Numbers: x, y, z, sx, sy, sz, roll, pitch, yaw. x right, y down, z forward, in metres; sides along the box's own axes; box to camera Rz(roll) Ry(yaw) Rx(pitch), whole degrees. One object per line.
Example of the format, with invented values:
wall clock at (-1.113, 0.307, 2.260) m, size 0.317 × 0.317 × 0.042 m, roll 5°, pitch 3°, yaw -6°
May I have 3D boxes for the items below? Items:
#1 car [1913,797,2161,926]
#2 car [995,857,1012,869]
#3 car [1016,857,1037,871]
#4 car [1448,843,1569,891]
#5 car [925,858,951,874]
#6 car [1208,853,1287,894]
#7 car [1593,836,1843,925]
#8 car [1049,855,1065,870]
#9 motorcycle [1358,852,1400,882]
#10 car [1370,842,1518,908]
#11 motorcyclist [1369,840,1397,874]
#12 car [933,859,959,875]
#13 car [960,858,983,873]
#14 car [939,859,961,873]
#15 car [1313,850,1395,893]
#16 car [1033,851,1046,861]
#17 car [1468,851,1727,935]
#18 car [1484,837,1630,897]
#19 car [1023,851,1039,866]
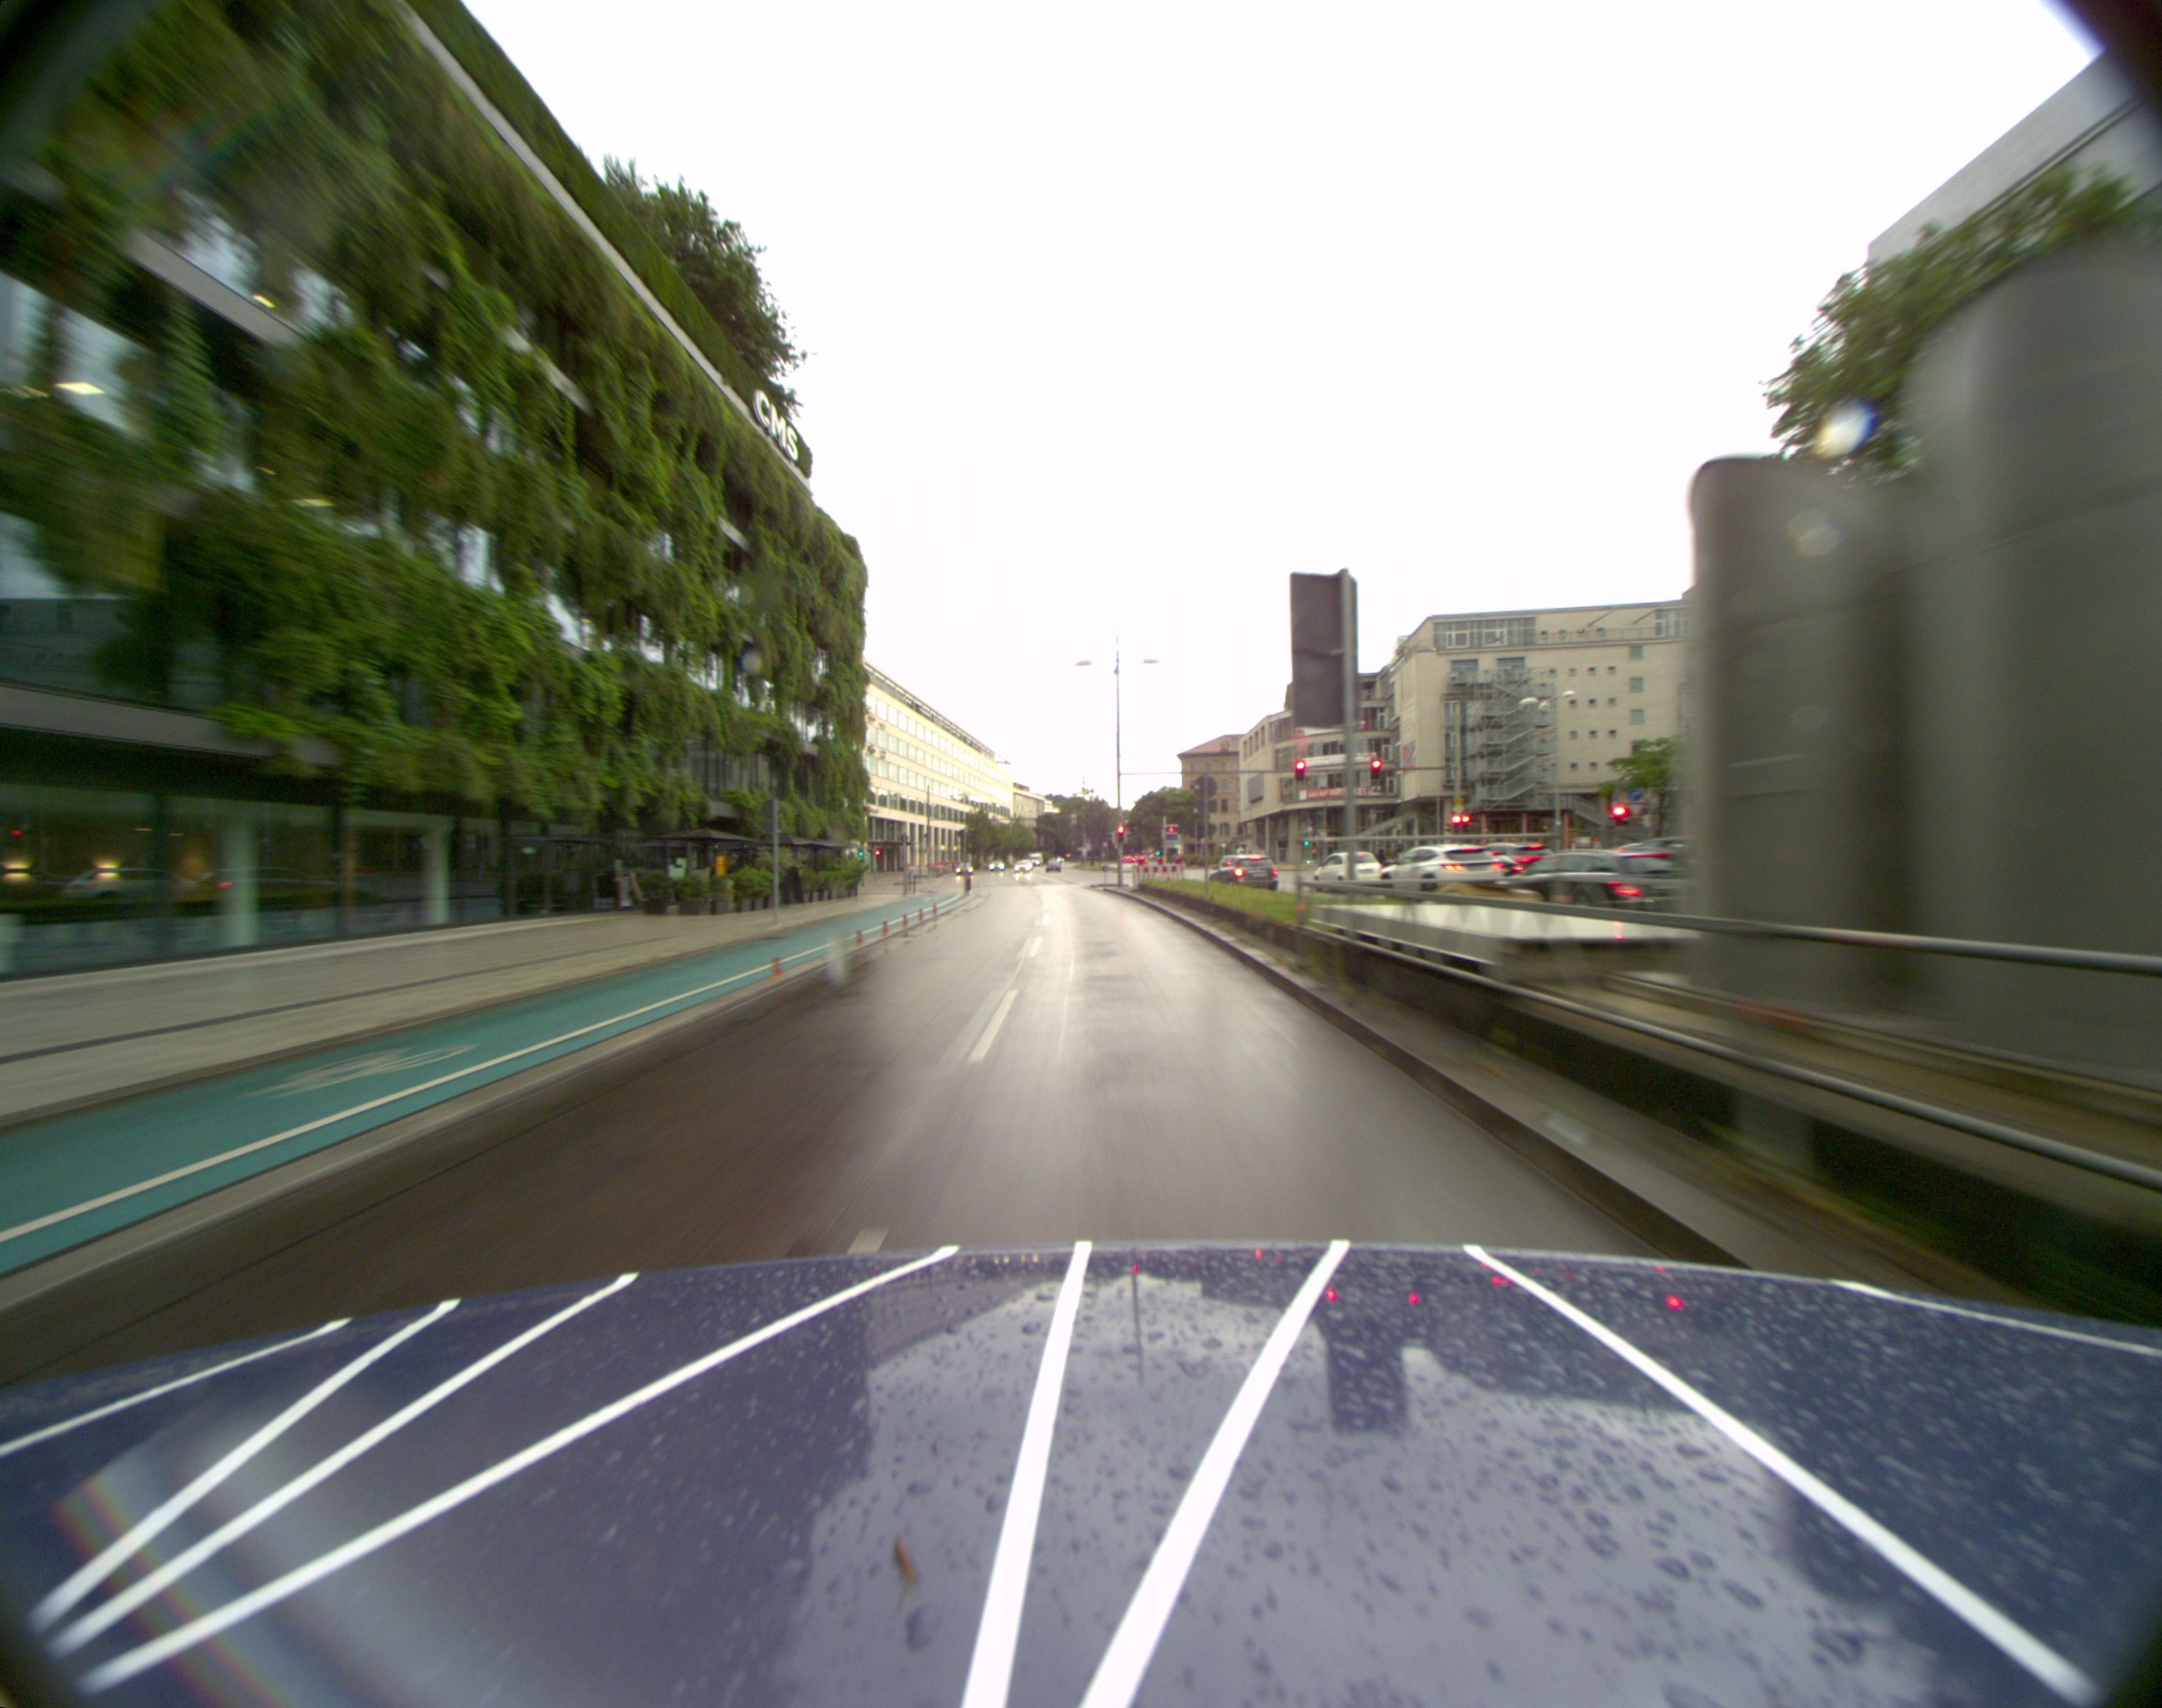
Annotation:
car at (13.914, 0.057, 9.871) m, size 1.758 × 1.556 × 3.999 m, roll -2°, pitch 0°, yaw -2°
car at (-10.767, 1.232, 106.015) m, size 1.739 × 1.543 × 4.671 m, roll -2°, pitch 0°, yaw 2°
car at (-6.463, 1.216, 90.620) m, size 1.978 × 1.543 × 4.671 m, roll -2°, pitch 0°, yaw 2°
car at (16.138, 0.461, 28.982) m, size 1.762 × 1.608 × 4.660 m, roll -2°, pitch 0°, yaw -3°
car at (-15.792, 1.305, 84.043) m, size 1.739 × 1.543 × 4.671 m, roll -2°, pitch 0°, yaw 2°
car at (6.524, 0.725, 30.239) m, size 1.849 × 1.473 × 4.162 m, roll -2°, pitch 0°, yaw -5°
car at (13.719, 0.522, 16.794) m, size 1.848 × 1.655 × 4.412 m, roll -2°, pitch 0°, yaw 1°
car at (-2.776, 0.976, 89.145) m, size 1.739 × 1.543 × 4.670 m, roll -2°, pitch 0°, yaw -1°
motorcycle at (12.625, 0.532, 32.250) m, size 0.720 × 1.221 × 2.042 m, roll -2°, pitch 0°, yaw -8°
car at (10.485, 0.571, 22.404) m, size 1.882 × 1.675 × 4.798 m, roll -2°, pitch 0°, yaw -2°
motorcyclist at (12.666, 0.137, 31.843) m, size 0.789 × 1.383 × 0.733 m, roll -3°, pitch 0°, yaw -7°
car at (-14.020, 1.305, 79.086) m, size 1.739 × 1.543 × 4.671 m, roll -2°, pitch 0°, yaw 2°
car at (-12.488, 1.263, 86.798) m, size 1.739 × 1.543 × 4.671 m, roll -1°, pitch 0°, yaw 2°
car at (-15.809, 1.383, 91.922) m, size 1.739 × 1.543 × 4.671 m, roll -2°, pitch 0°, yaw 2°
car at (10.238, 0.637, 28.765) m, size 1.722 × 1.467 × 3.430 m, roll -2°, pitch 0°, yaw -3°
car at (-8.352, 0.429, 152.802) m, size 1.998 × 2.002 × 4.002 m, roll -2°, pitch 0°, yaw 5°
car at (10.508, 0.714, 16.057) m, size 1.849 × 1.442 × 4.914 m, roll -2°, pitch 0°, yaw -4°
car at (14.086, 0.347, 22.779) m, size 1.758 × 1.556 × 3.999 m, roll -2°, pitch 0°, yaw -2°
car at (-7.247, 0.641, 110.410) m, size 1.979 × 2.116 × 5.105 m, roll -3°, pitch 0°, yaw -1°
